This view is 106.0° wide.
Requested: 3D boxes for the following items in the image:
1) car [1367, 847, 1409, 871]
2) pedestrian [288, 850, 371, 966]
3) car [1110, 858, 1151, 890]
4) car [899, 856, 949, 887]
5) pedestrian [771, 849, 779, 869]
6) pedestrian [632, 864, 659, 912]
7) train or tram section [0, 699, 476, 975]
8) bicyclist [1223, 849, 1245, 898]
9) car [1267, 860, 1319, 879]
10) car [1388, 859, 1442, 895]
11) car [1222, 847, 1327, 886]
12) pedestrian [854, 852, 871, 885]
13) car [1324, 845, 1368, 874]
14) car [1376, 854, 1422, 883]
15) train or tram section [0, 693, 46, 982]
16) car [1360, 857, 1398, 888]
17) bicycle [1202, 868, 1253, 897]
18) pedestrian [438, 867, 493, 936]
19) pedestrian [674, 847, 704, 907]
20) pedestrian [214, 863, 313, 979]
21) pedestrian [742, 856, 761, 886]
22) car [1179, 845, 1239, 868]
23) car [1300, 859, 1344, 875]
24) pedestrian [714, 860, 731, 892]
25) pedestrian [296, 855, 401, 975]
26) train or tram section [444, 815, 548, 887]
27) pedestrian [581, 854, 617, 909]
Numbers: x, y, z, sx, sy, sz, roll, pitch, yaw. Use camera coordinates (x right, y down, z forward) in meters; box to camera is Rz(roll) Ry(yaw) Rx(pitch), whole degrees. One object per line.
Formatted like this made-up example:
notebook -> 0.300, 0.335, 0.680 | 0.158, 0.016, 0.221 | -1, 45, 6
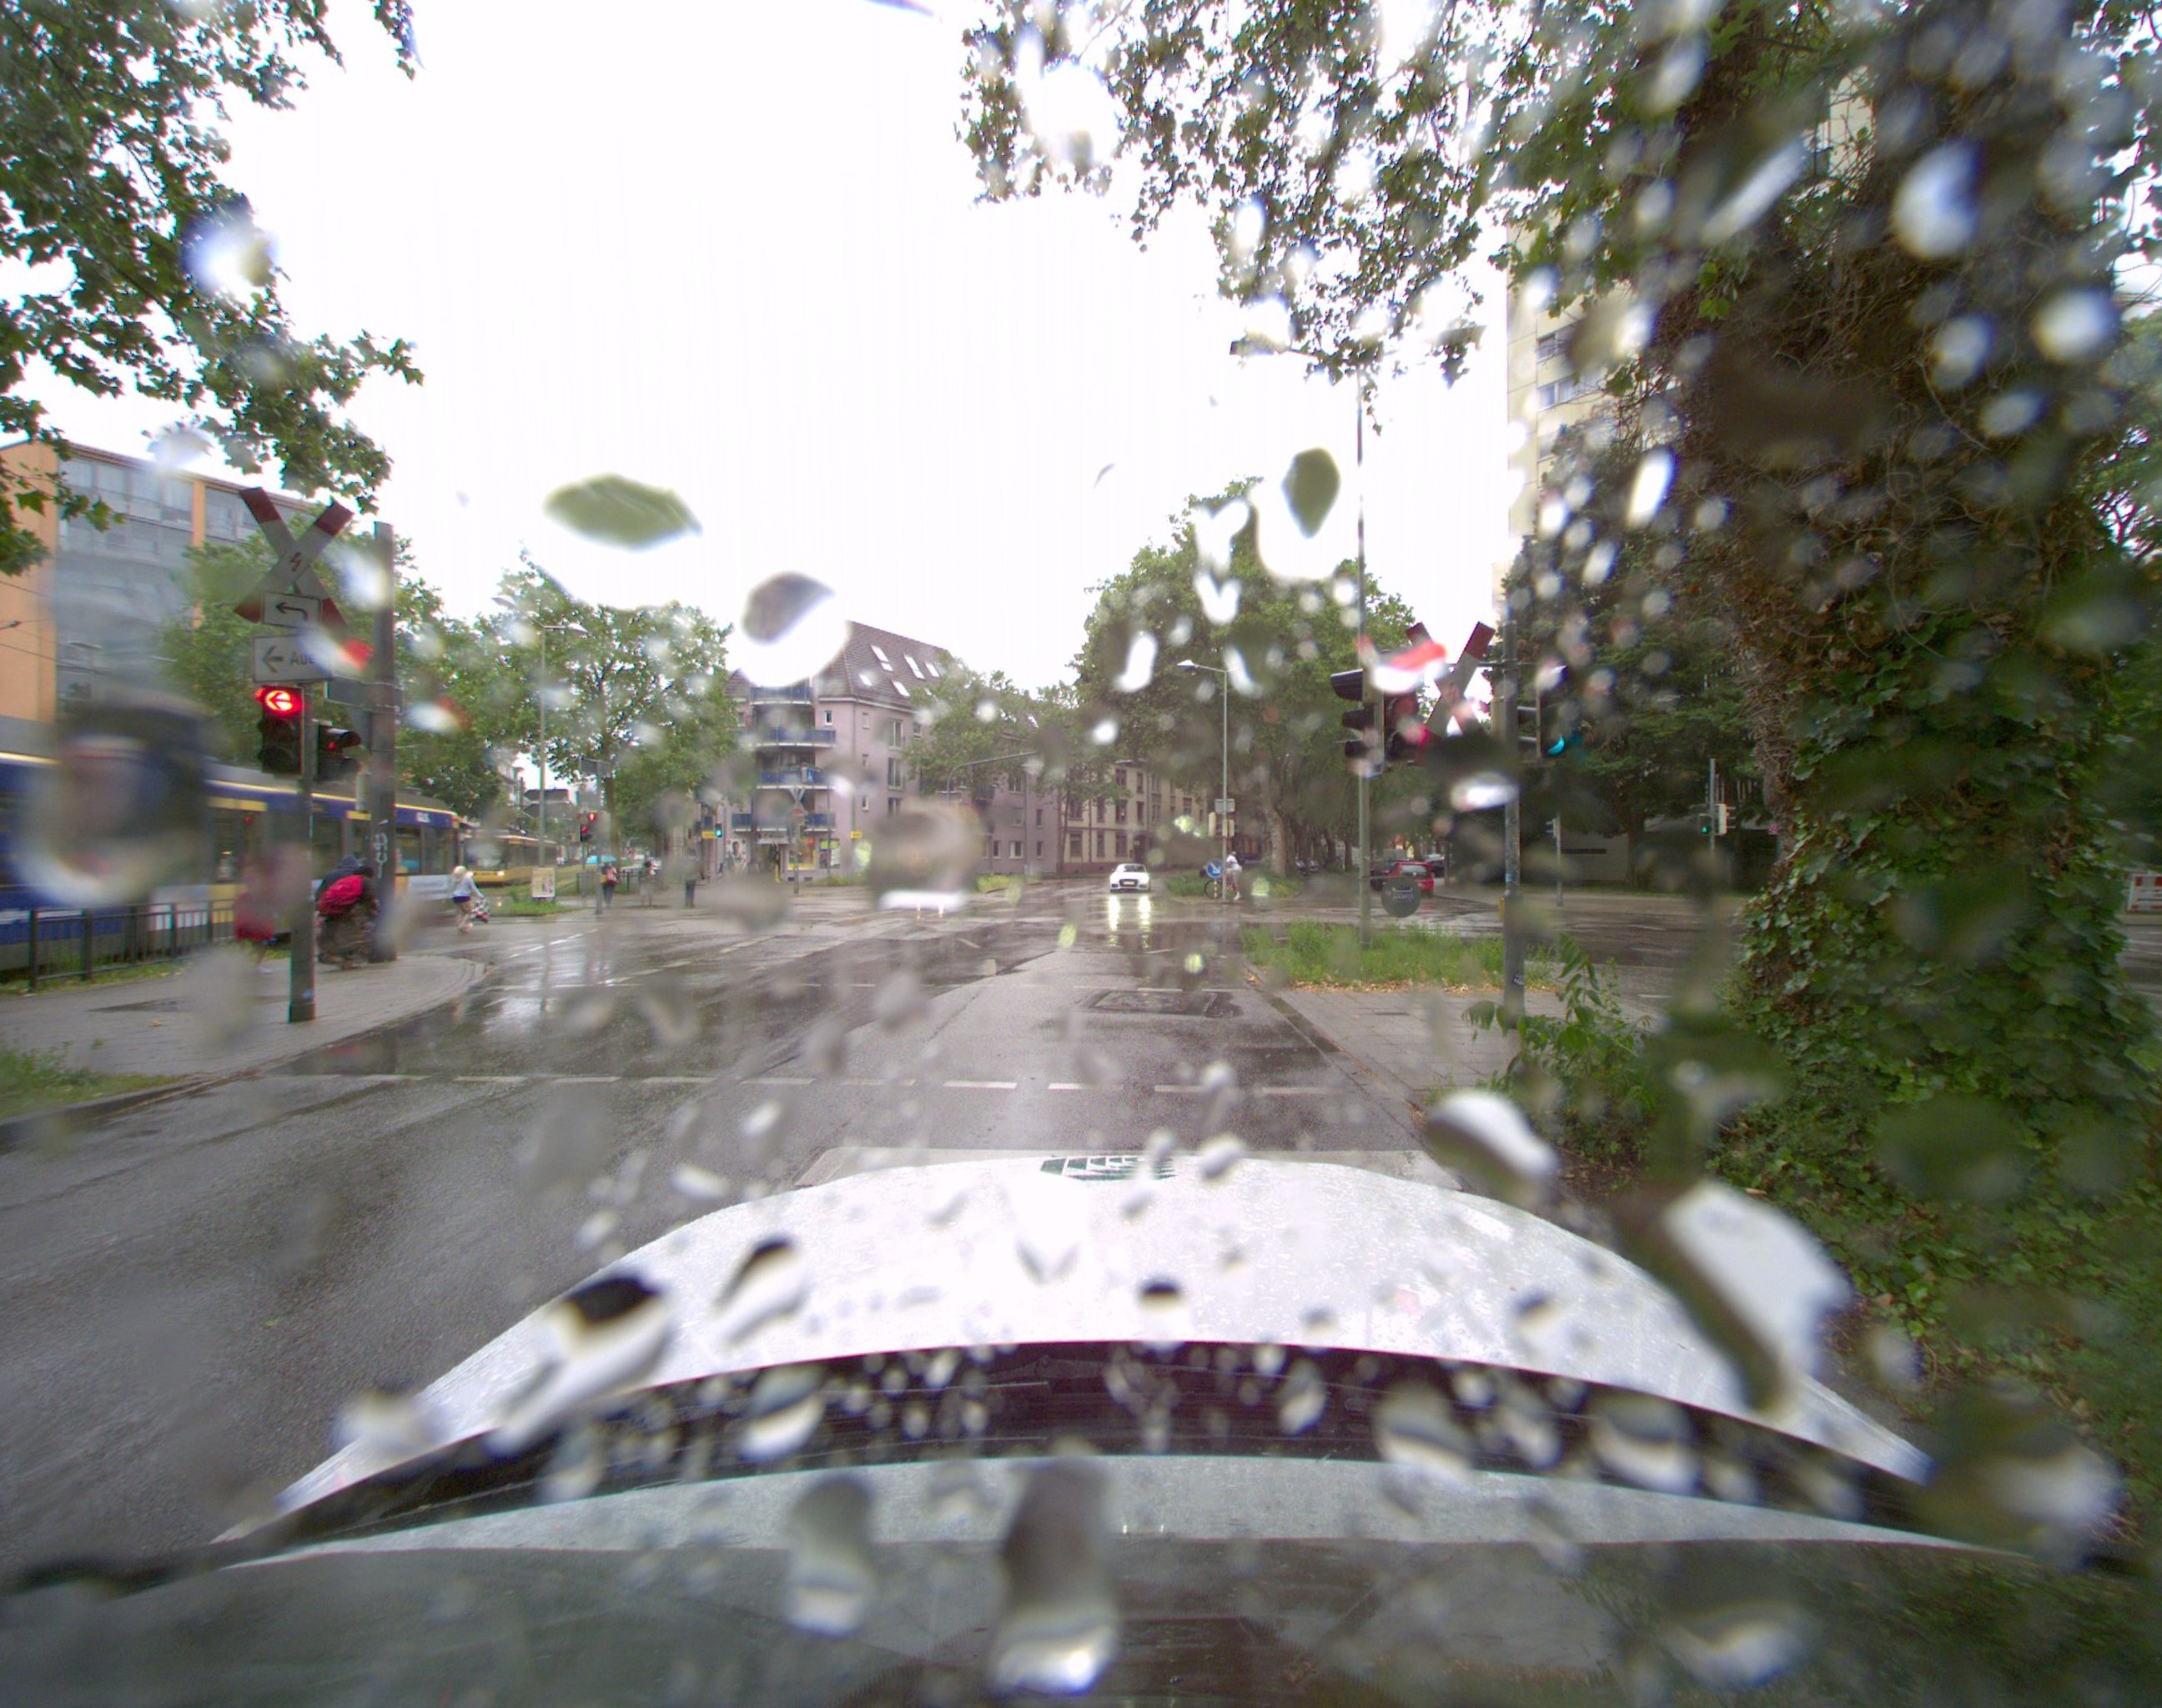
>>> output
car -> 38.987, 0.635, 103.561 | 2.006, 2.948, 4.726 | 0, -1, -29
pedestrian -> -11.757, 0.813, 12.767 | 0.844, 1.698, 0.680 | -4, 3, -42
car -> 2.403, 0.934, 39.196 | 1.876, 1.436, 4.004 | 0, 0, 4
car -> -8.011, 0.852, 41.836 | 1.745, 1.512, 3.839 | 0, 0, 1
pedestrian -> -20.656, 0.354, 55.035 | 0.445, 1.329, 0.558 | 0, -1, -15
pedestrian -> -13.024, 1.001, 24.339 | 0.653, 1.396, 0.774 | 0, 0, -33
train or tram section -> -16.836, -0.187, 16.683 | 2.868, 3.545, 13.633 | 0, 0, -18
bicyclist -> 5.685, 0.712, 30.360 | 0.790, 1.786, 0.699 | -1, -1, 9
car -> 16.913, 1.204, 65.149 | 3.958, 1.486, 2.008 | -1, -1, 14
car -> 14.821, 0.978, 36.328 | 1.778, 1.498, 4.017 | 0, 0, 16
car -> 7.748, 0.516, 32.657 | 3.958, 1.486, 2.008 | -1, -1, 14
pedestrian -> -14.264, 0.933, 53.082 | 0.913, 2.151, 0.880 | 0, -1, -25
car -> 28.320, 0.583, 87.210 | 2.040, 2.948, 4.742 | 0, -1, -18
car -> 15.890, 0.694, 40.864 | 1.770, 1.348, 3.945 | 0, 1, 16
train or tram section -> -12.971, -0.228, 2.723 | 2.864, 3.545, 15.300 | 0, 0, -14
car -> 17.321, 1.060, 47.419 | 1.769, 1.727, 4.017 | -1, -1, 16
bicycle -> 5.457, 1.067, 30.392 | 1.862, 1.081, 0.658 | -1, -1, 9
pedestrian -> -12.475, 0.951, 16.524 | 0.657, 1.349, 0.706 | 0, 0, -12
pedestrian -> -12.359, 0.711, 25.693 | 0.791, 1.855, 0.676 | 0, 0, -22
pedestrian -> -11.184, 0.894, 11.159 | 0.680, 1.520, 0.658 | -1, 0, -4
pedestrian -> -17.223, 0.888, 42.529 | 0.749, 1.533, 0.789 | 0, -1, -9
car -> 8.602, 0.201, 54.607 | 3.838, 1.486, 1.723 | -1, -1, 14
car -> 23.134, 1.250, 78.254 | 3.958, 1.547, 2.008 | -1, -1, 14
pedestrian -> -18.527, 1.129, 42.097 | 0.674, 1.600, 0.963 | 0, -1, -14
pedestrian -> -10.401, 0.837, 11.594 | 0.728, 1.624, 0.816 | -1, 1, -5
train or tram section -> -36.331, -0.068, 51.312 | 2.897, 3.768, 17.089 | 0, -1, -28
pedestrian -> -15.854, 0.898, 26.815 | 0.962, 1.766, 0.944 | 0, -1, -28
